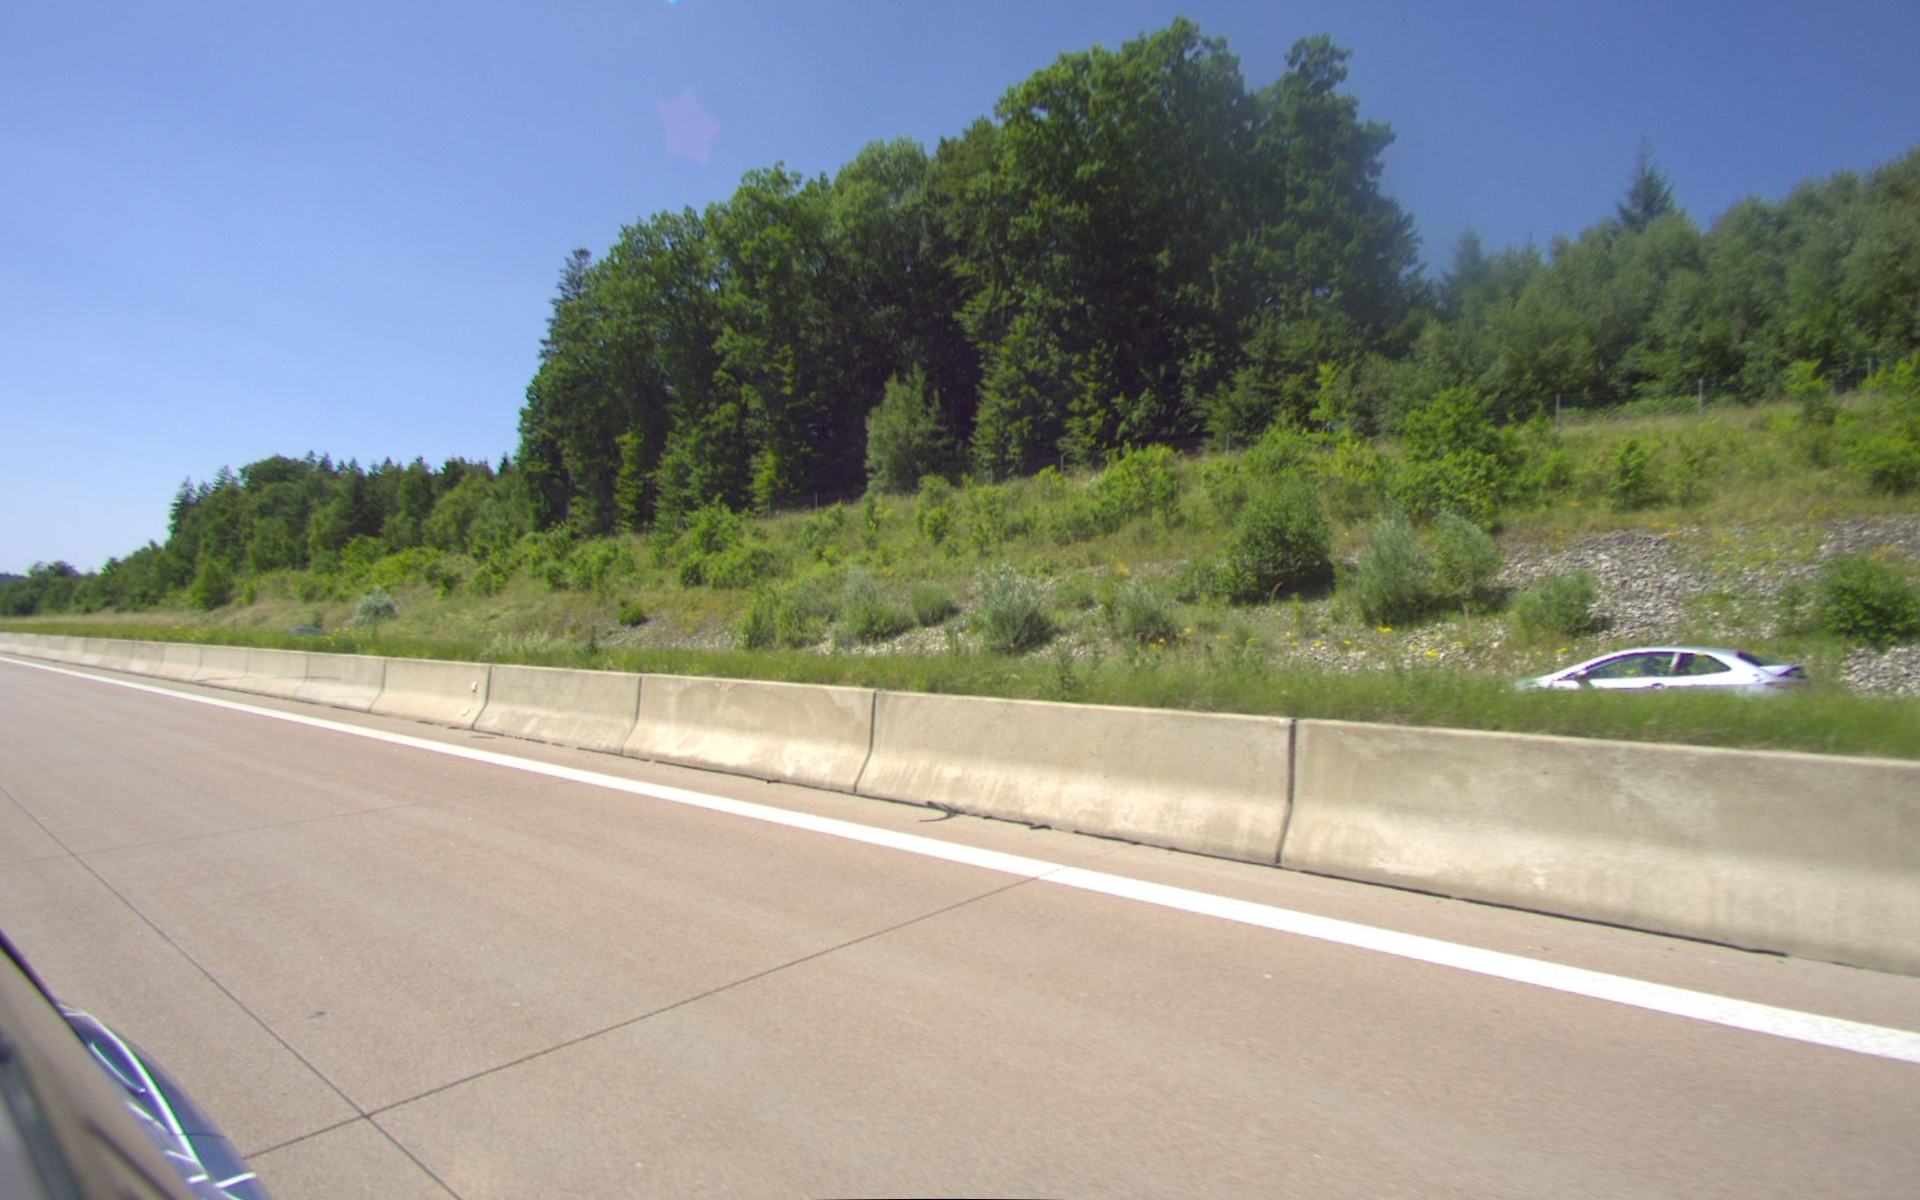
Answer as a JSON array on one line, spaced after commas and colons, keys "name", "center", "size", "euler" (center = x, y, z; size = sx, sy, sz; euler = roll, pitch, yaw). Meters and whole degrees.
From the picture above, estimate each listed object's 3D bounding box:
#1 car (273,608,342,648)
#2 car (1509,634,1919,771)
[{"name": "car", "center": [-36.453, 1.578, 56.505], "size": [4.658, 2.080, 1.872], "euler": [-2, -2, 39]}, {"name": "car", "center": [10.897, 1.383, 14.892], "size": [4.658, 1.664, 1.872], "euler": [-2, -2, 39]}]
